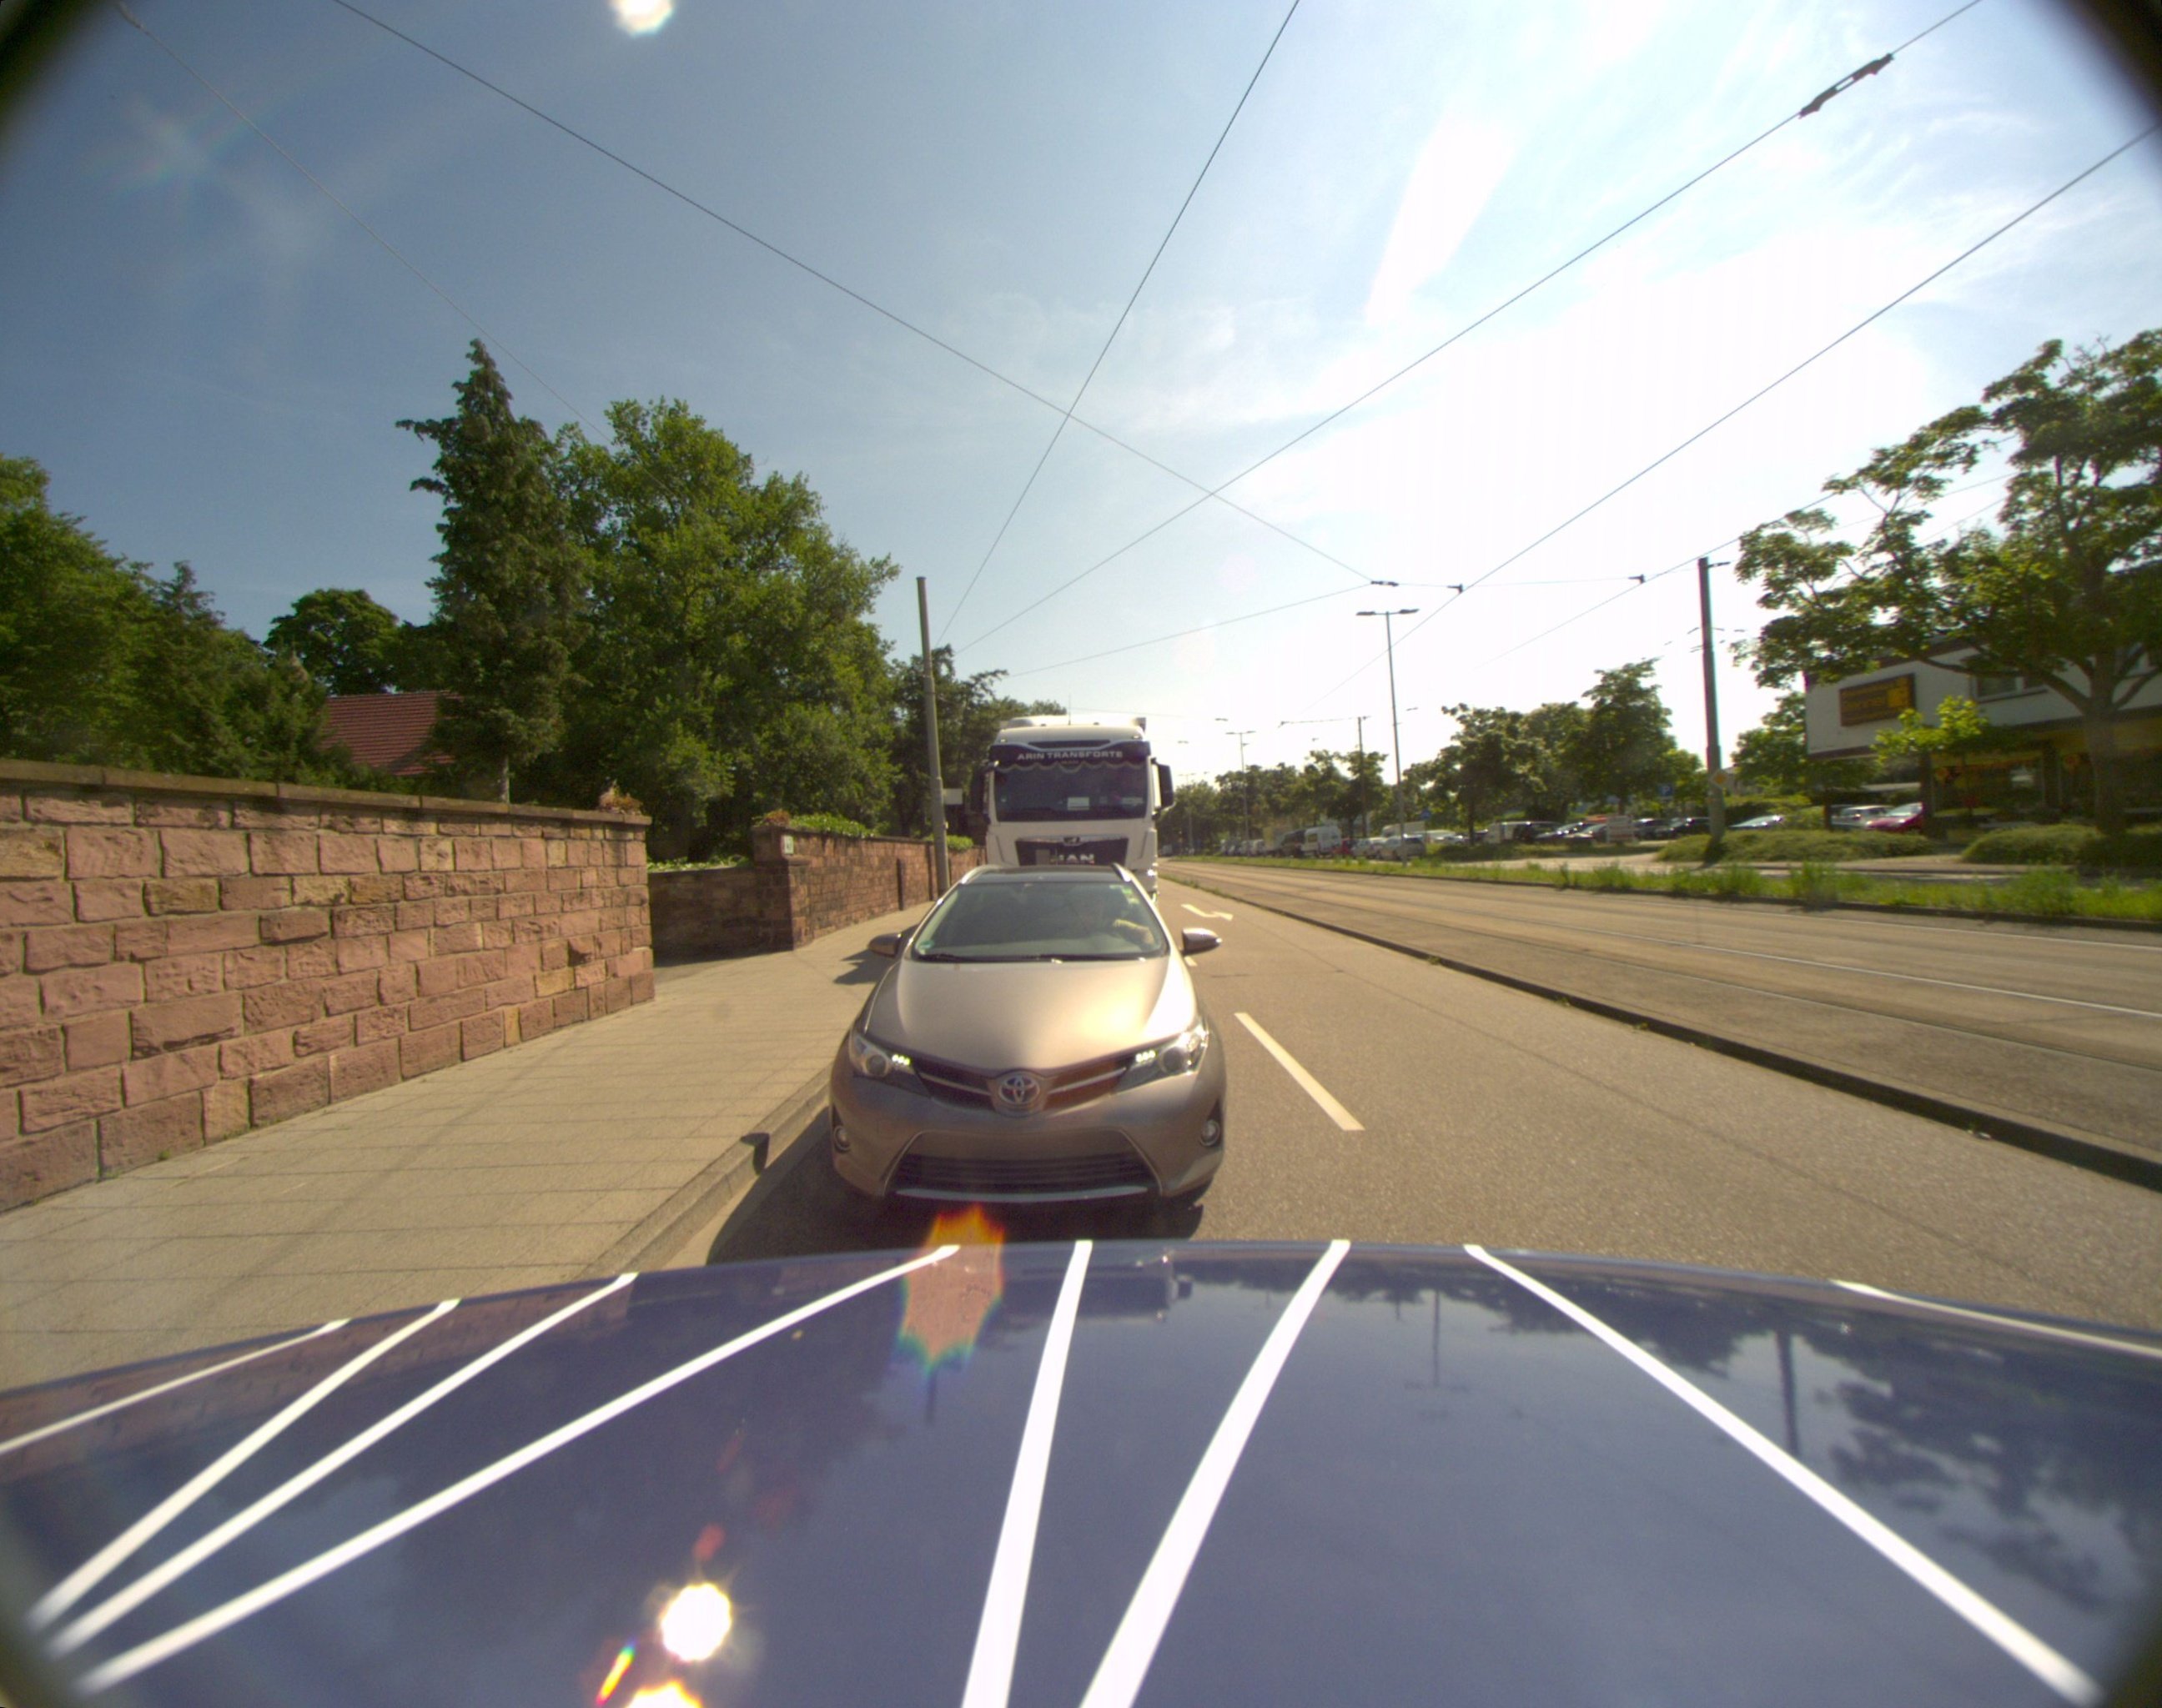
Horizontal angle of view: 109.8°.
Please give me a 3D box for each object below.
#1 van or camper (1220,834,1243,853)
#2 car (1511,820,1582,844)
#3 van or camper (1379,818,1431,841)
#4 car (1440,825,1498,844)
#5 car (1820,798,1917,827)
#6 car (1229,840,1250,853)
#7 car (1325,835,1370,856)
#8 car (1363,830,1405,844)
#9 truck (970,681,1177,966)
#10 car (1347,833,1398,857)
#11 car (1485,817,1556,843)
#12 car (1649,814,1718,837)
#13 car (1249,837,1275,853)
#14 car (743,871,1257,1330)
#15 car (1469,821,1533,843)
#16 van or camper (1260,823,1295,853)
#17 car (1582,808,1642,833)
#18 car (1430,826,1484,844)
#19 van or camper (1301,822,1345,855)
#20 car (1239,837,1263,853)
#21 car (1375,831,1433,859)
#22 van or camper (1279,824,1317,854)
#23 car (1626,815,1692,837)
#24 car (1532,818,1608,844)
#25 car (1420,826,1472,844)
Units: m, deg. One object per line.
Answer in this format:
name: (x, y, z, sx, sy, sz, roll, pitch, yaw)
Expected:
van or camper: (21.172, -1.473, 107.215, 2.114, 2.604, 5.451, -2, 1, 1)
car: (30.699, -1.445, 50.199, 3.624, 1.353, 1.712, -3, 1, -1)
van or camper: (44.857, -3.387, 105.391, 6.081, 2.715, 2.299, -3, 1, 3)
car: (31.042, -1.541, 60.848, 3.624, 1.274, 1.812, -3, 0, -1)
car: (43.786, -2.299, 42.273, 3.624, 1.353, 1.712, -3, 1, -1)
car: (20.910, -0.934, 100.297, 1.893, 1.551, 4.232, -3, 0, 0)
car: (20.595, -0.630, 58.848, 1.893, 1.486, 4.232, -3, 0, 0)
car: (32.001, -1.797, 80.337, 3.624, 1.274, 1.712, -3, 1, -1)
truck: (-0.036, -0.442, 15.036, 2.746, 3.852, 9.110, -2, 0, 1)
car: (20.533, -0.634, 53.637, 1.893, 1.551, 4.285, -3, 0, 0)
car: (30.447, -1.643, 52.665, 3.749, 1.560, 1.951, -3, 1, -1)
car: (43.533, -2.039, 54.942, 3.624, 1.353, 1.712, -3, 1, -1)
car: (20.776, -1.029, 87.357, 1.893, 1.724, 4.232, -3, 0, 0)
car: (-0.252, 0.920, 4.895, 1.742, 1.424, 4.462, -3, 0, 1)
car: (30.375, -1.582, 54.992, 3.624, 1.277, 1.712, -3, 1, -1)
van or camper: (20.288, -1.611, 78.742, 2.128, 2.967, 5.281, -3, 0, 0)
car: (43.637, -2.728, 62.498, 3.624, 1.767, 1.712, -3, 1, -1)
car: (31.469, -1.588, 63.706, 3.624, 1.274, 1.712, -3, 1, -1)
van or camper: (20.268, -1.267, 63.797, 2.040, 2.617, 4.839, -3, 0, 0)
car: (21.050, -1.089, 94.292, 1.893, 1.757, 4.232, -3, 0, 0)
car: (20.388, -0.544, 48.146, 1.892, 1.486, 4.285, -6, 0, 2)
van or camper: (20.214, -1.344, 70.852, 2.040, 2.617, 4.839, -3, 0, 0)
car: (43.733, -2.097, 57.532, 3.624, 1.353, 1.712, -3, 1, -1)
car: (30.495, -1.406, 47.456, 3.624, 1.353, 1.712, -3, 1, -1)
car: (31.689, -1.624, 66.025, 3.624, 1.274, 1.712, -3, 1, -1)
